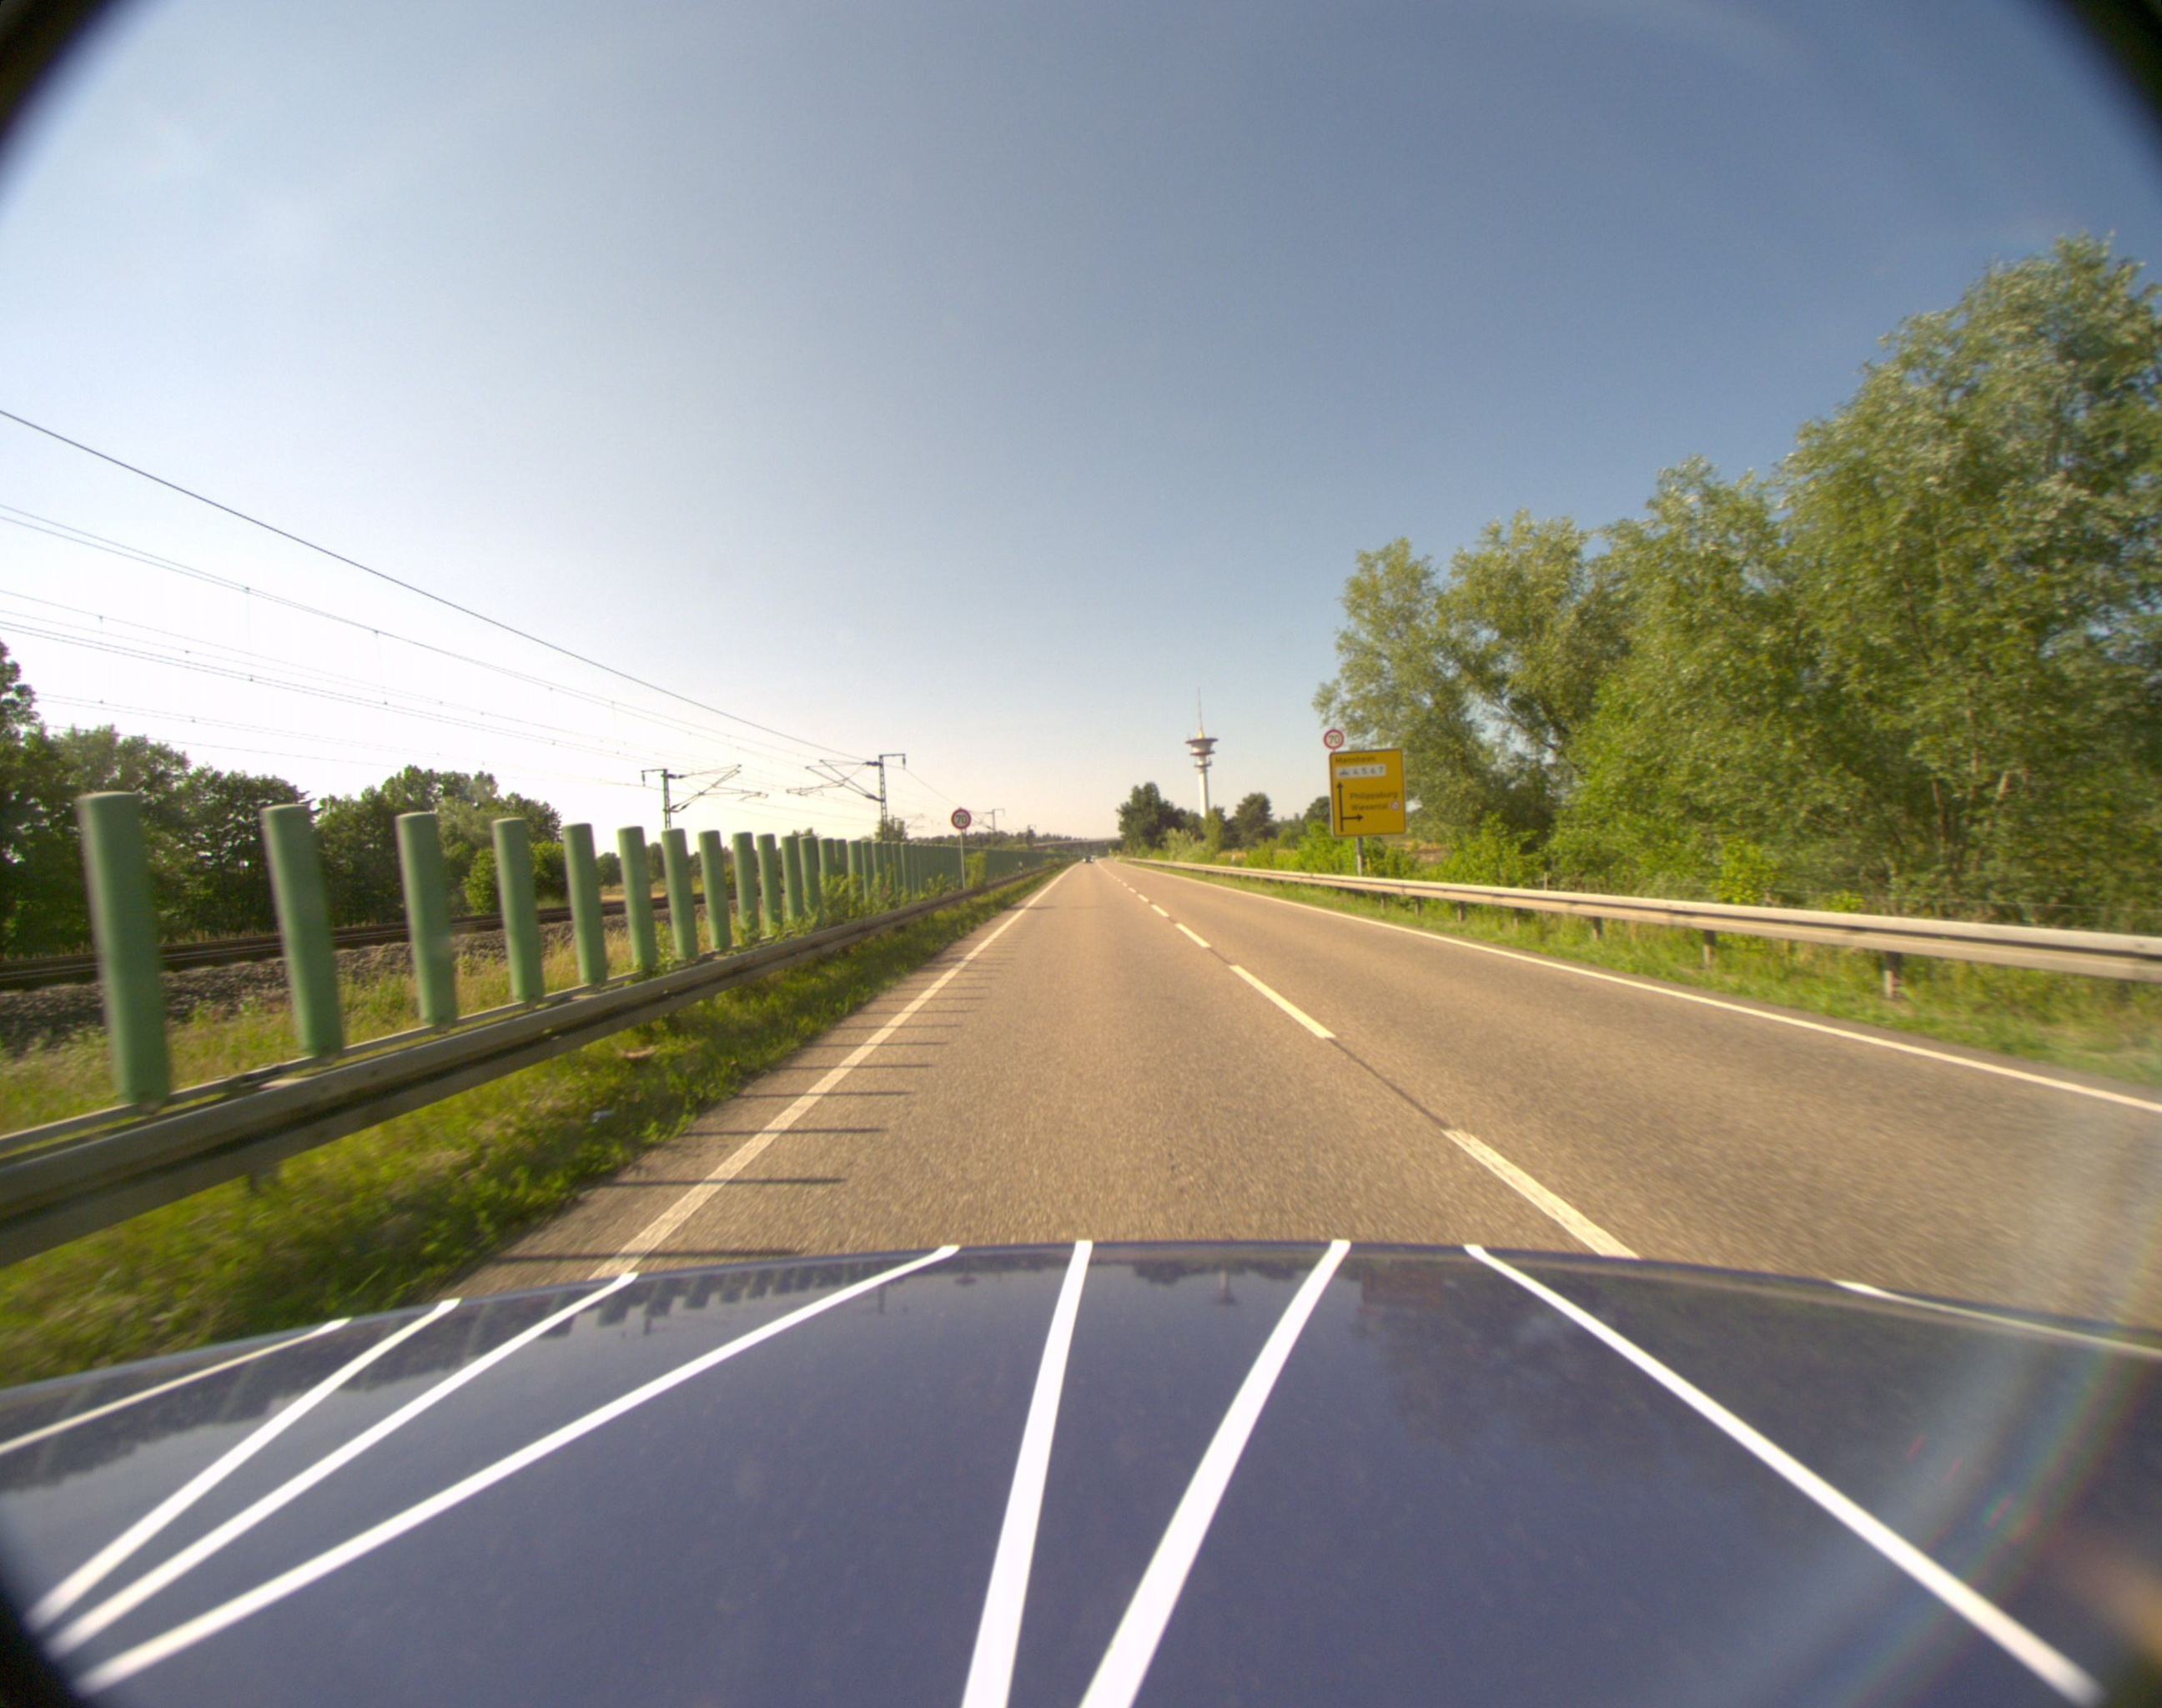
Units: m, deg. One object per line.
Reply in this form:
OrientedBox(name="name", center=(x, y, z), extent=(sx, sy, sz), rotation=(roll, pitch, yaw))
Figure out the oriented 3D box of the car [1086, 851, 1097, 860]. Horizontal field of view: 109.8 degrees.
OrientedBox(name="car", center=(2.004, 0.315, 140.258), extent=(1.868, 1.533, 4.076), rotation=(-1, 0, 3))
